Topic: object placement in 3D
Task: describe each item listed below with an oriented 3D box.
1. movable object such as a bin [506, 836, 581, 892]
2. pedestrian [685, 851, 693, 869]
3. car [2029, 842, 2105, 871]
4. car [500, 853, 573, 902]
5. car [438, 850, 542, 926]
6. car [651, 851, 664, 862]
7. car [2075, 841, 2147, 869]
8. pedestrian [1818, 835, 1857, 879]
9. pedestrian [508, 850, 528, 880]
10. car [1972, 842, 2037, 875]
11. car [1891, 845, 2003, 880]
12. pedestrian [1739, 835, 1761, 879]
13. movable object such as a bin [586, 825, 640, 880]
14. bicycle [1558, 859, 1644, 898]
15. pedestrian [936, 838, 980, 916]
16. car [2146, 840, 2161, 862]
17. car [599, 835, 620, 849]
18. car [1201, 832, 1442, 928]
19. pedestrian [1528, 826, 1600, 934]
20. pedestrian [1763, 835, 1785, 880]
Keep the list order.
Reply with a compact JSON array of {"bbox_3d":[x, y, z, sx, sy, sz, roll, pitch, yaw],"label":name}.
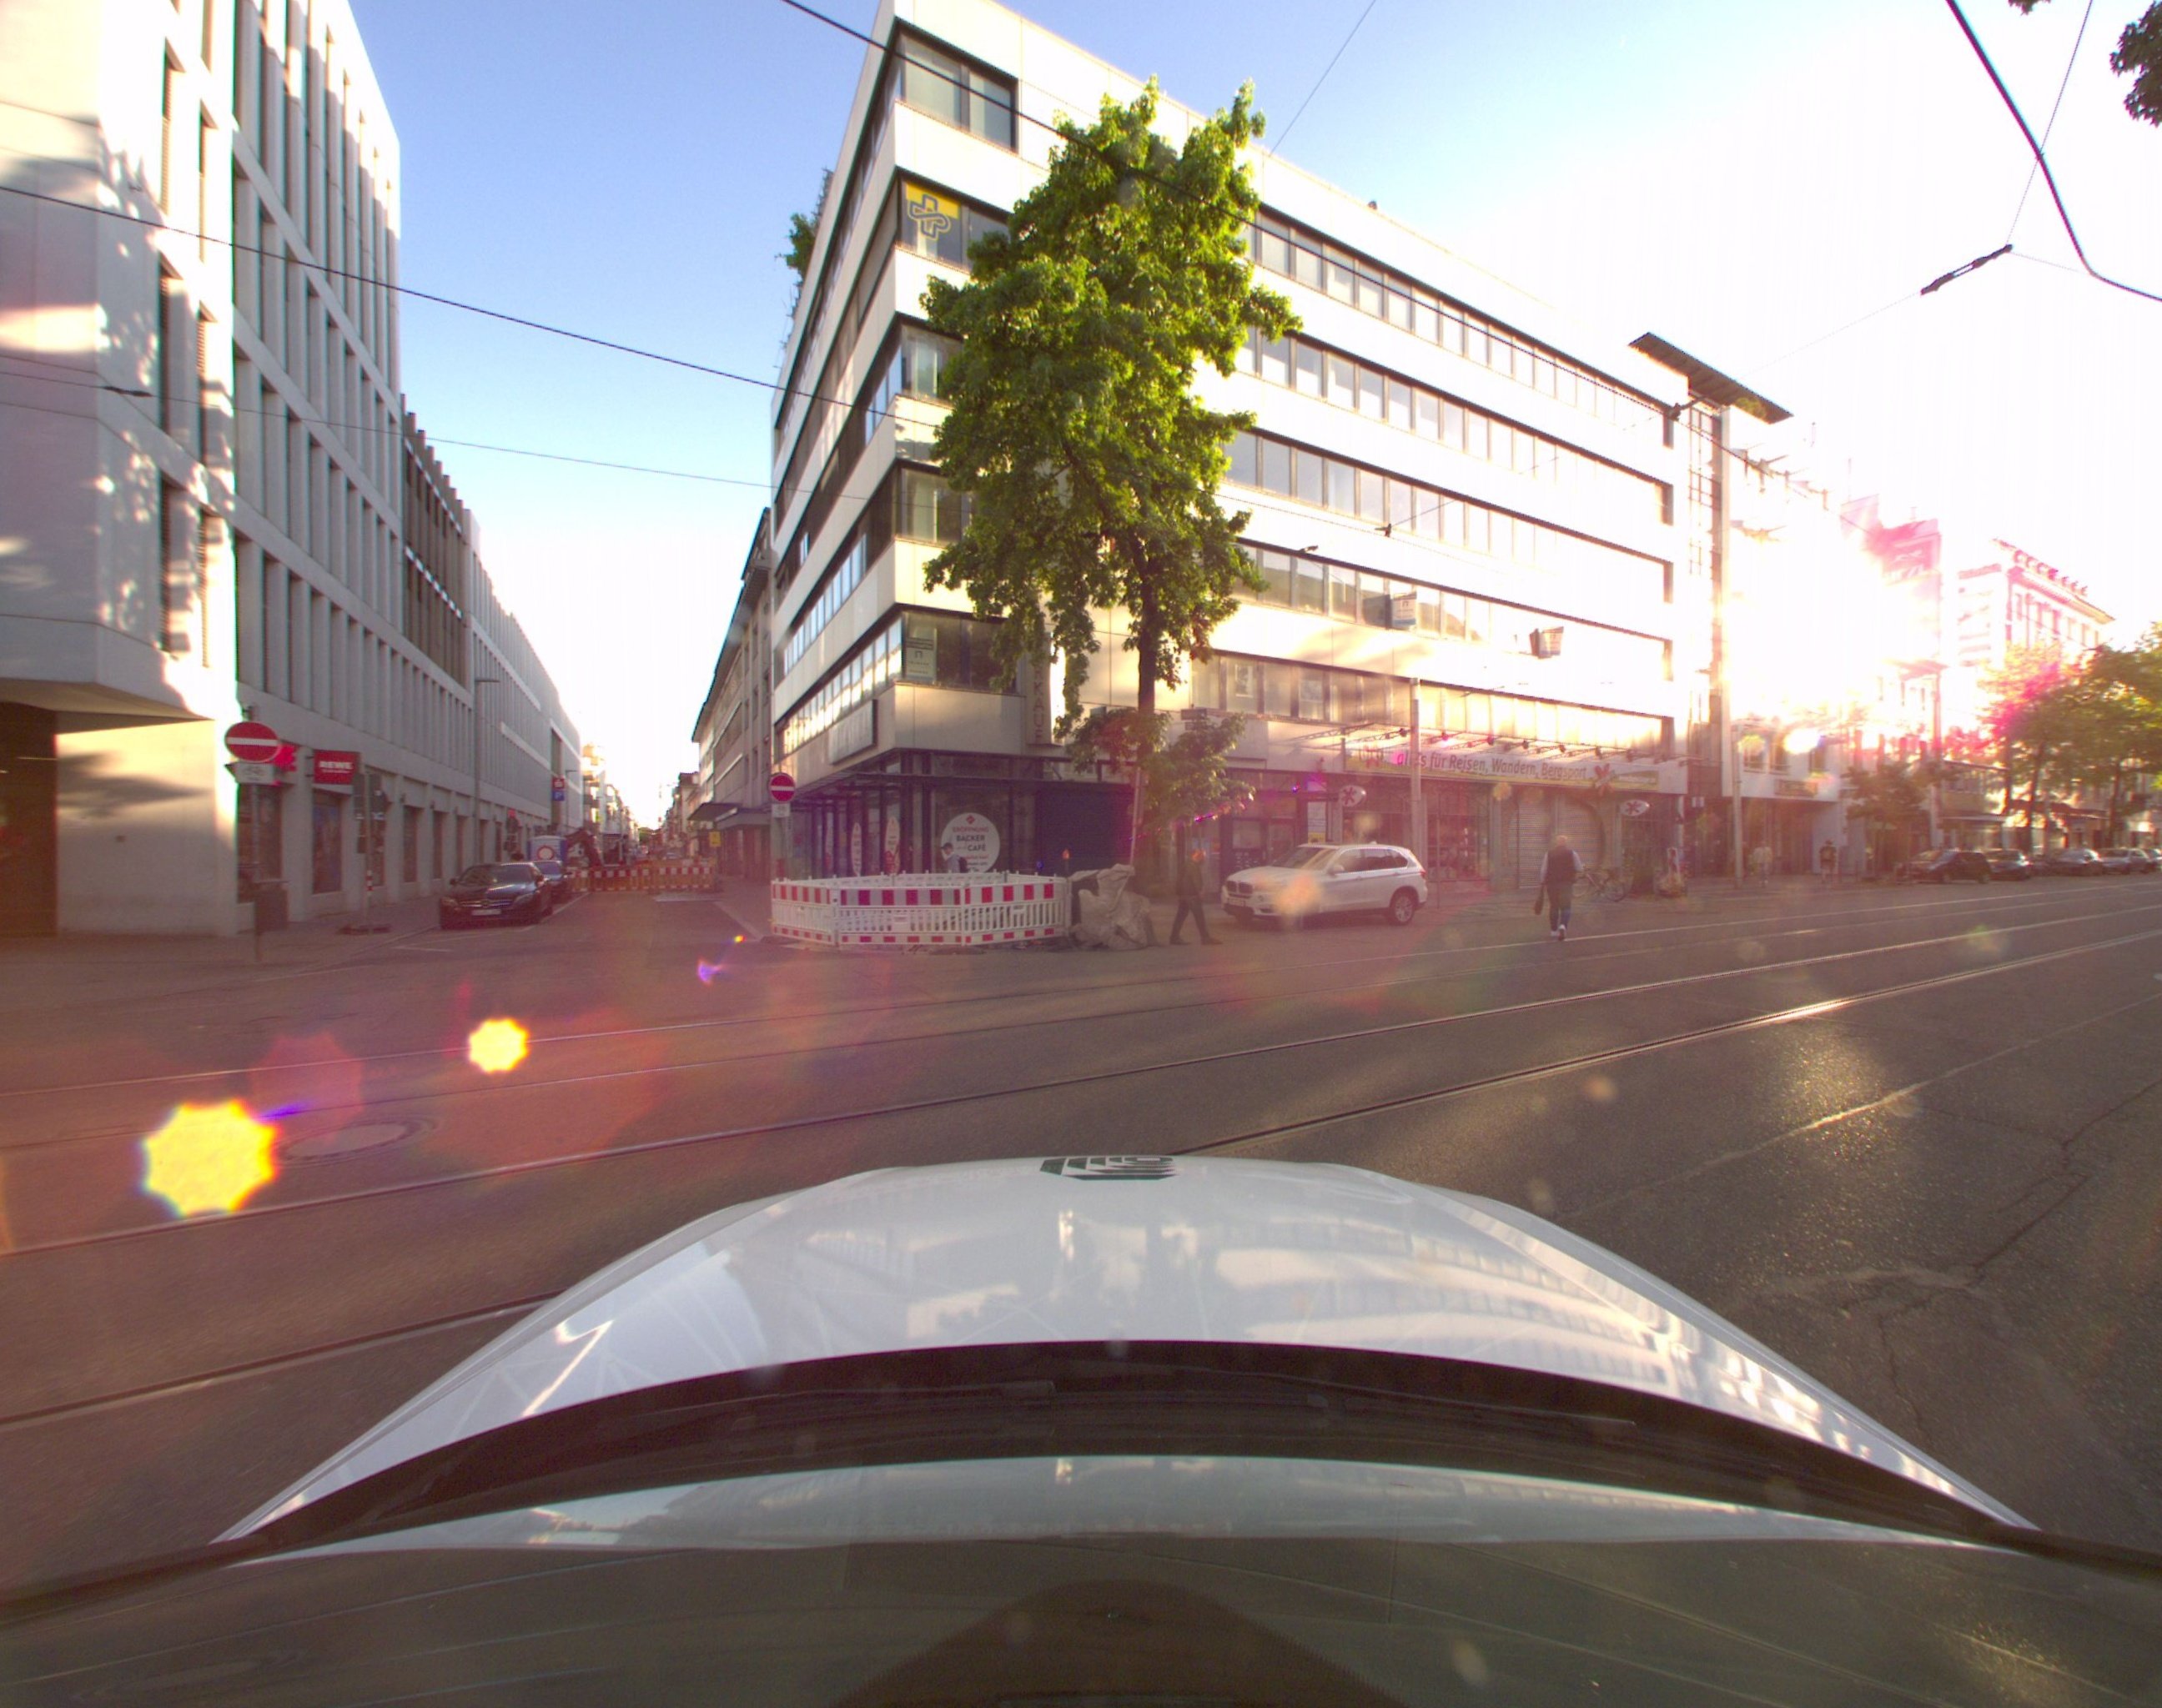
[{"bbox_3d":[-21.015,0.333,32.011,2.005,2.013,3.965,-1,1,-27],"label":"movable object such as a bin"},{"bbox_3d":[-32.248,0.494,67.037,0.525,1.464,0.713,0,0,-20],"label":"pedestrian"},{"bbox_3d":[52.957,0.108,43.735,3.736,1.465,1.817,0,2,-27],"label":"car"},{"bbox_3d":[-17.809,0.703,26.755,1.801,1.451,3.111,-1,1,-31],"label":"car"},{"bbox_3d":[-13.476,0.692,18.717,1.640,1.550,3.111,-1,1,-31],"label":"car"},{"bbox_3d":[-74.340,0.376,142.851,2.005,1.776,3.964,-1,1,-28],"label":"car"},{"bbox_3d":[58.846,0.051,46.545,3.736,1.465,1.817,0,2,-27],"label":"car"},{"bbox_3d":[31.285,0.115,33.675,0.971,1.776,0.801,-1,1,-16],"label":"pedestrian"},{"bbox_3d":[-28.114,0.535,40.691,0.719,1.464,0.521,-1,1,-26],"label":"pedestrian"},{"bbox_3d":[44.411,0.164,39.156,3.746,1.465,1.812,-1,3,-38],"label":"car"},{"bbox_3d":[37.383,0.344,35.165,3.653,1.386,1.721,1,2,-14],"label":"car"},{"bbox_3d":[27.288,0.117,33.217,0.620,1.776,0.820,0,1,44],"label":"pedestrian"},{"bbox_3d":[-23.854,-0.088,41.649,2.169,2.663,4.531,-1,0,-28],"label":"movable object such as a bin"},{"bbox_3d":[15.161,0.693,23.791,0.671,0.952,2.008,-1,4,-30],"label":"bicycle"},{"bbox_3d":[-2.519,0.449,16.641,0.709,1.549,0.573,-1,1,-31],"label":"pedestrian"},{"bbox_3d":[73.623,-0.157,54.705,3.736,1.465,1.817,0,2,-27],"label":"car"},{"bbox_3d":[-58.606,-1.491,101.274,2.005,1.776,3.964,-1,1,-28],"label":"car"},{"bbox_3d":[5.190,0.459,17.419,4.958,1.775,2.004,0,2,-28],"label":"car"},{"bbox_3d":[8.234,0.419,13.920,0.796,1.776,1.077,-1,1,16],"label":"pedestrian"},{"bbox_3d":[27.729,0.120,32.592,0.620,1.776,0.820,0,1,44],"label":"pedestrian"}]
